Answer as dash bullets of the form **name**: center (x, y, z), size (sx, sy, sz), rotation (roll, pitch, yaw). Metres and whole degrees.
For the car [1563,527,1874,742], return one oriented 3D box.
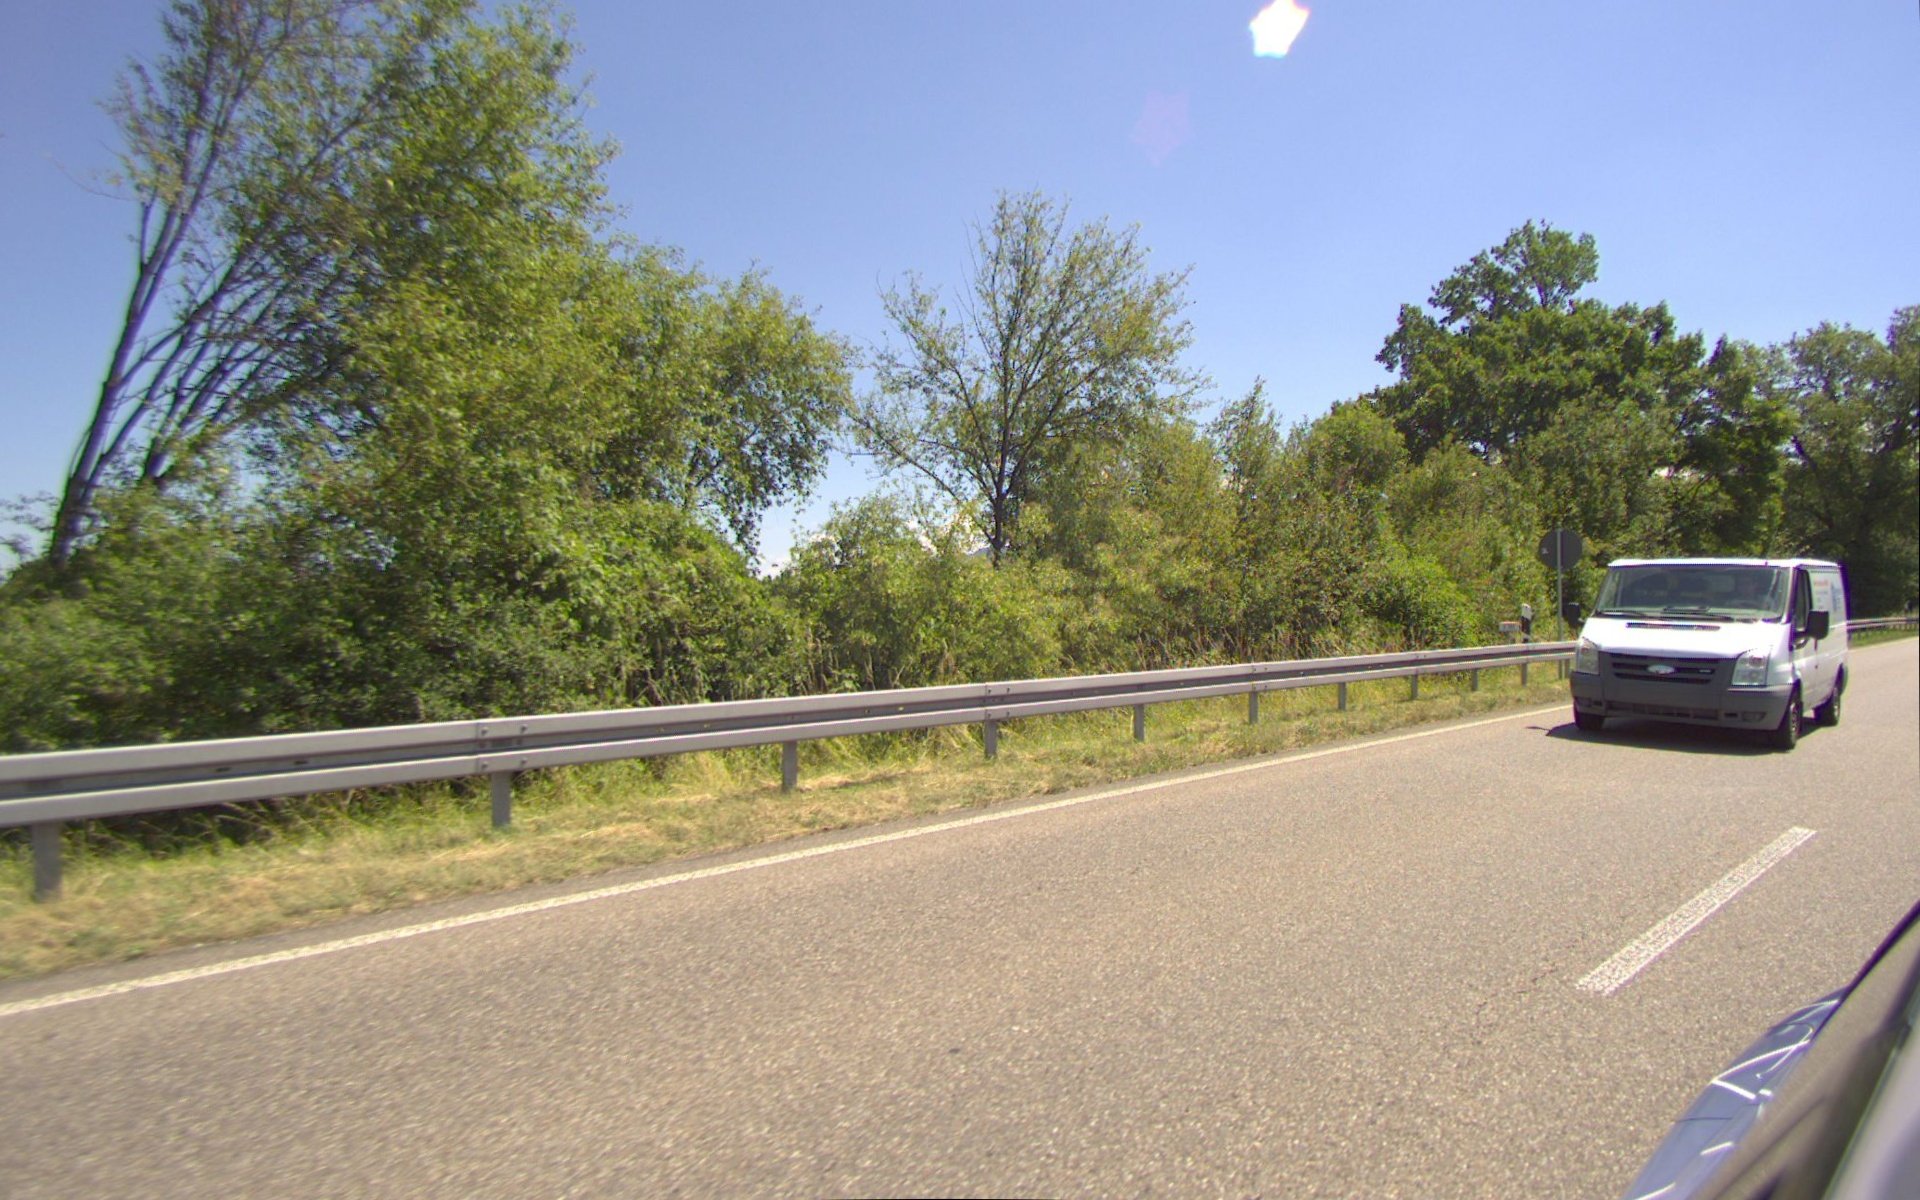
- **car**: center (9.043, 0.351, 11.880), size (4.948, 2.014, 2.008), rotation (1, -1, -42)
